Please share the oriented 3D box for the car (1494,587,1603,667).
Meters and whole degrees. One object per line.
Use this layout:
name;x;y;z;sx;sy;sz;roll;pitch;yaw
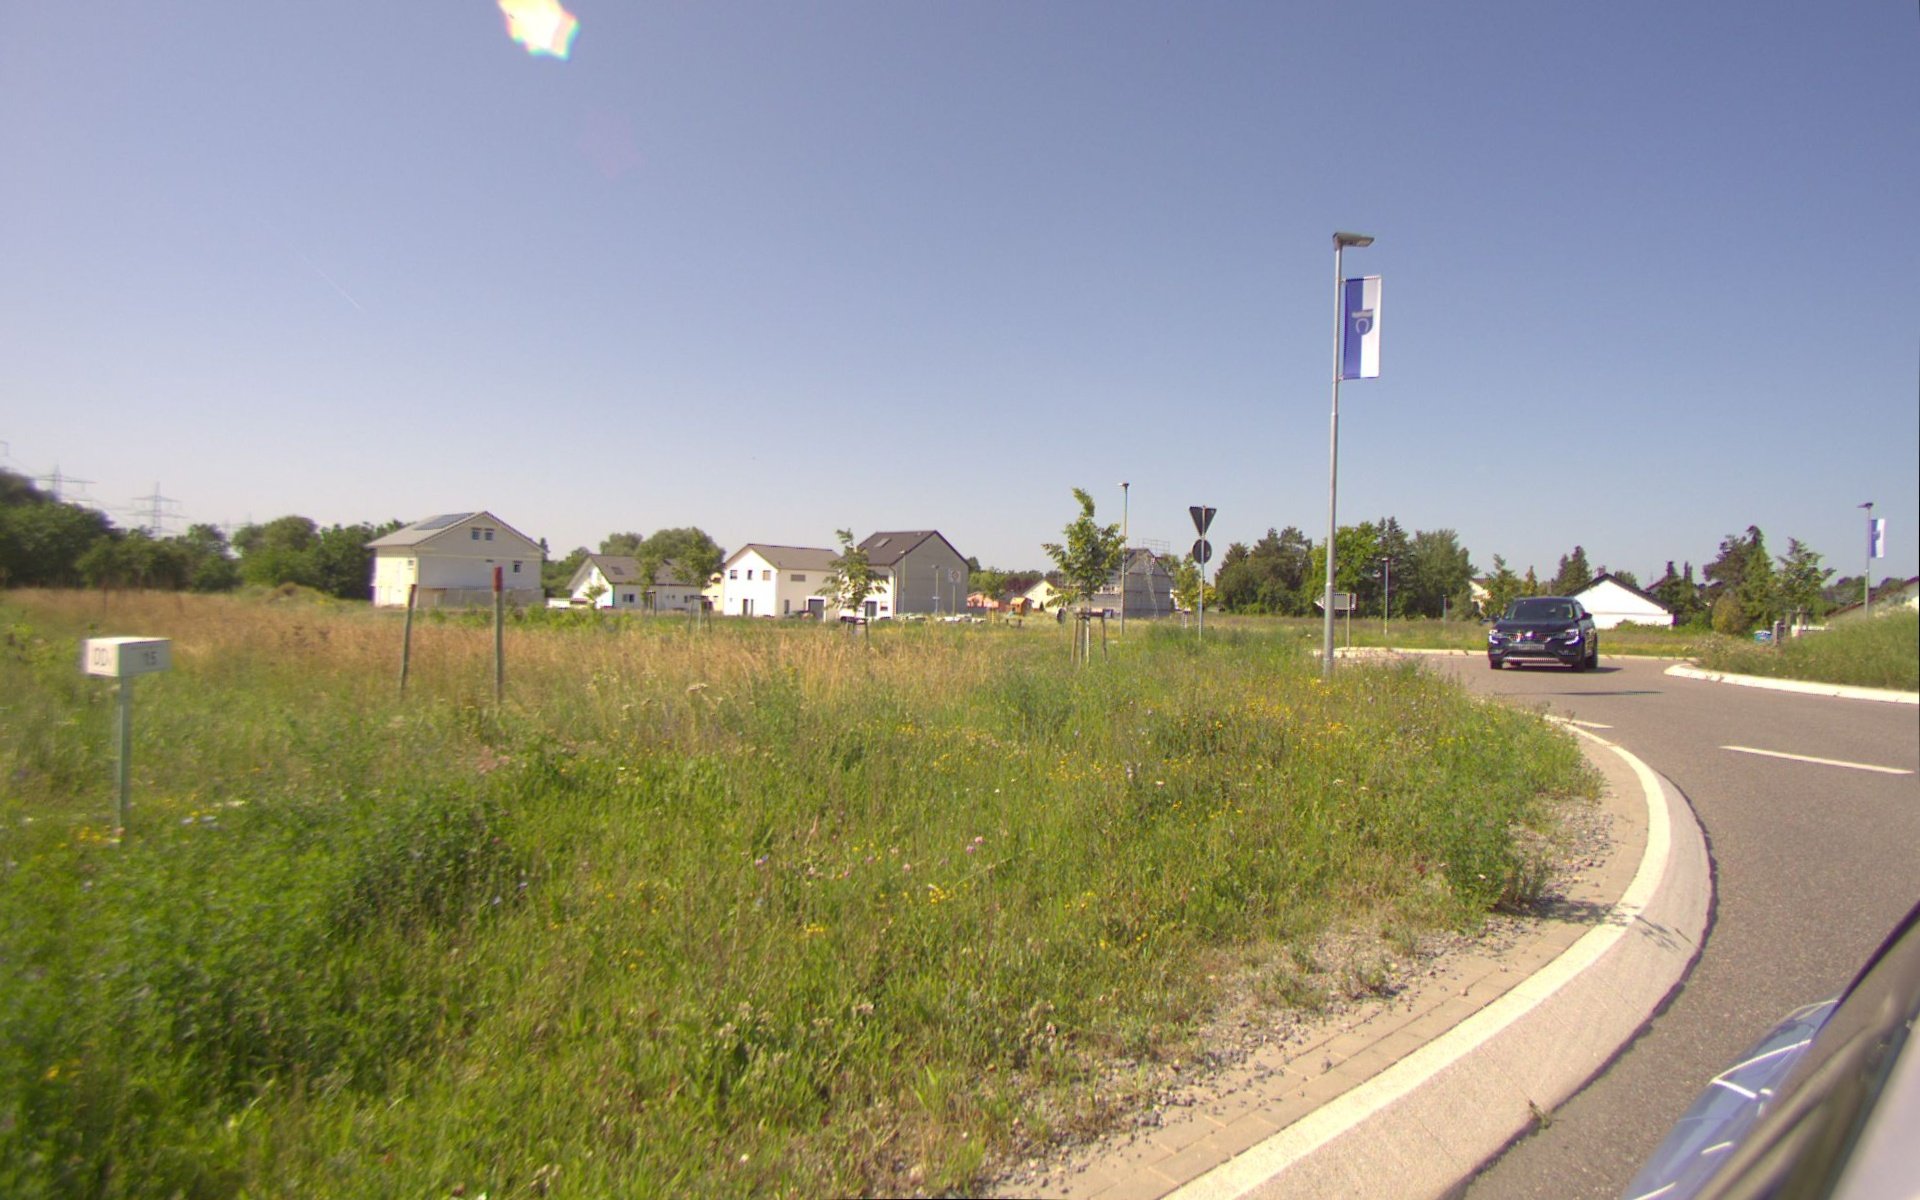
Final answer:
car;13.438;0.592;23.010;1.770;1.663;4.085;-1;-1;36
